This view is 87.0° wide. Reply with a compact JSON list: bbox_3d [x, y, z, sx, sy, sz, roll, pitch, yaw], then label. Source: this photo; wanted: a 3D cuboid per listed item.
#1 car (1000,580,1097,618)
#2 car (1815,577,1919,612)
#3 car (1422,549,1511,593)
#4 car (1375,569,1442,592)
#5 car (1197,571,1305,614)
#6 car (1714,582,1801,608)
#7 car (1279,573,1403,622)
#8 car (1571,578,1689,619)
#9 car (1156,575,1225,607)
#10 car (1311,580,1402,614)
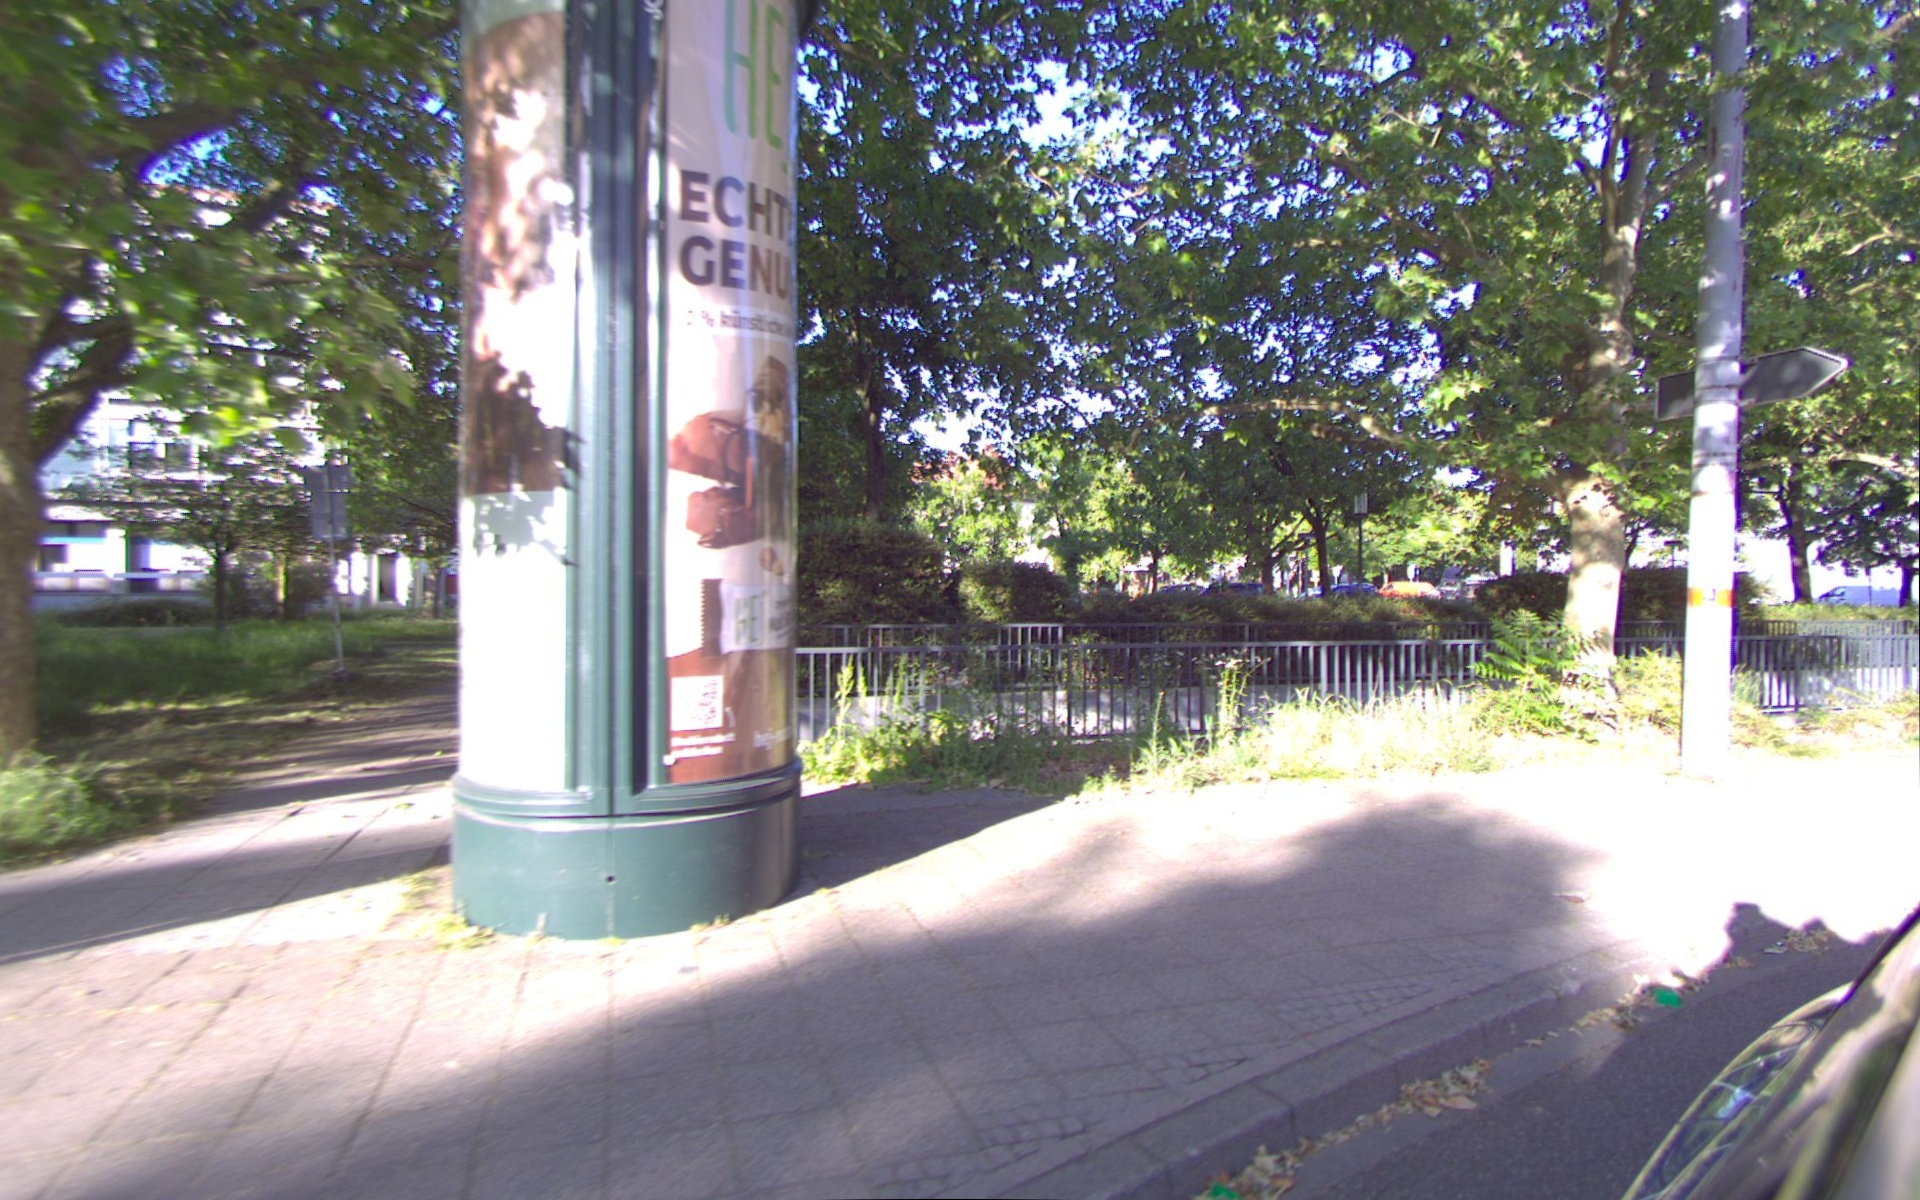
[{"bbox_3d":[3.987,-0.044,45.567,3.915,1.647,1.928,0,-1,-18],"label":"car"},{"bbox_3d":[51.073,-0.366,56.465,2.065,1.851,4.730,0,1,-20],"label":"car"},{"bbox_3d":[31.375,-1.747,62.661,5.050,2.605,2.004,0,0,-20],"label":"car"},{"bbox_3d":[37.740,-1.656,85.283,2.048,1.808,4.921,-1,3,-28],"label":"car"},{"bbox_3d":[11.485,-0.276,39.982,3.915,1.647,1.556,0,-1,-18],"label":"car"},{"bbox_3d":[48.690,-0.351,61.874,1.596,1.503,3.859,0,1,-20],"label":"car"},{"bbox_3d":[13.420,-0.101,35.659,3.916,1.646,1.768,0,1,-23],"label":"car"},{"bbox_3d":[27.206,-0.070,41.103,4.221,1.621,1.792,0,1,-20],"label":"car"},{"bbox_3d":[14.818,-0.564,65.094,3.960,1.971,1.928,0,-1,-19],"label":"car"},{"bbox_3d":[20.000,-0.149,51.056,3.915,1.647,1.928,0,-1,-18],"label":"car"}]
